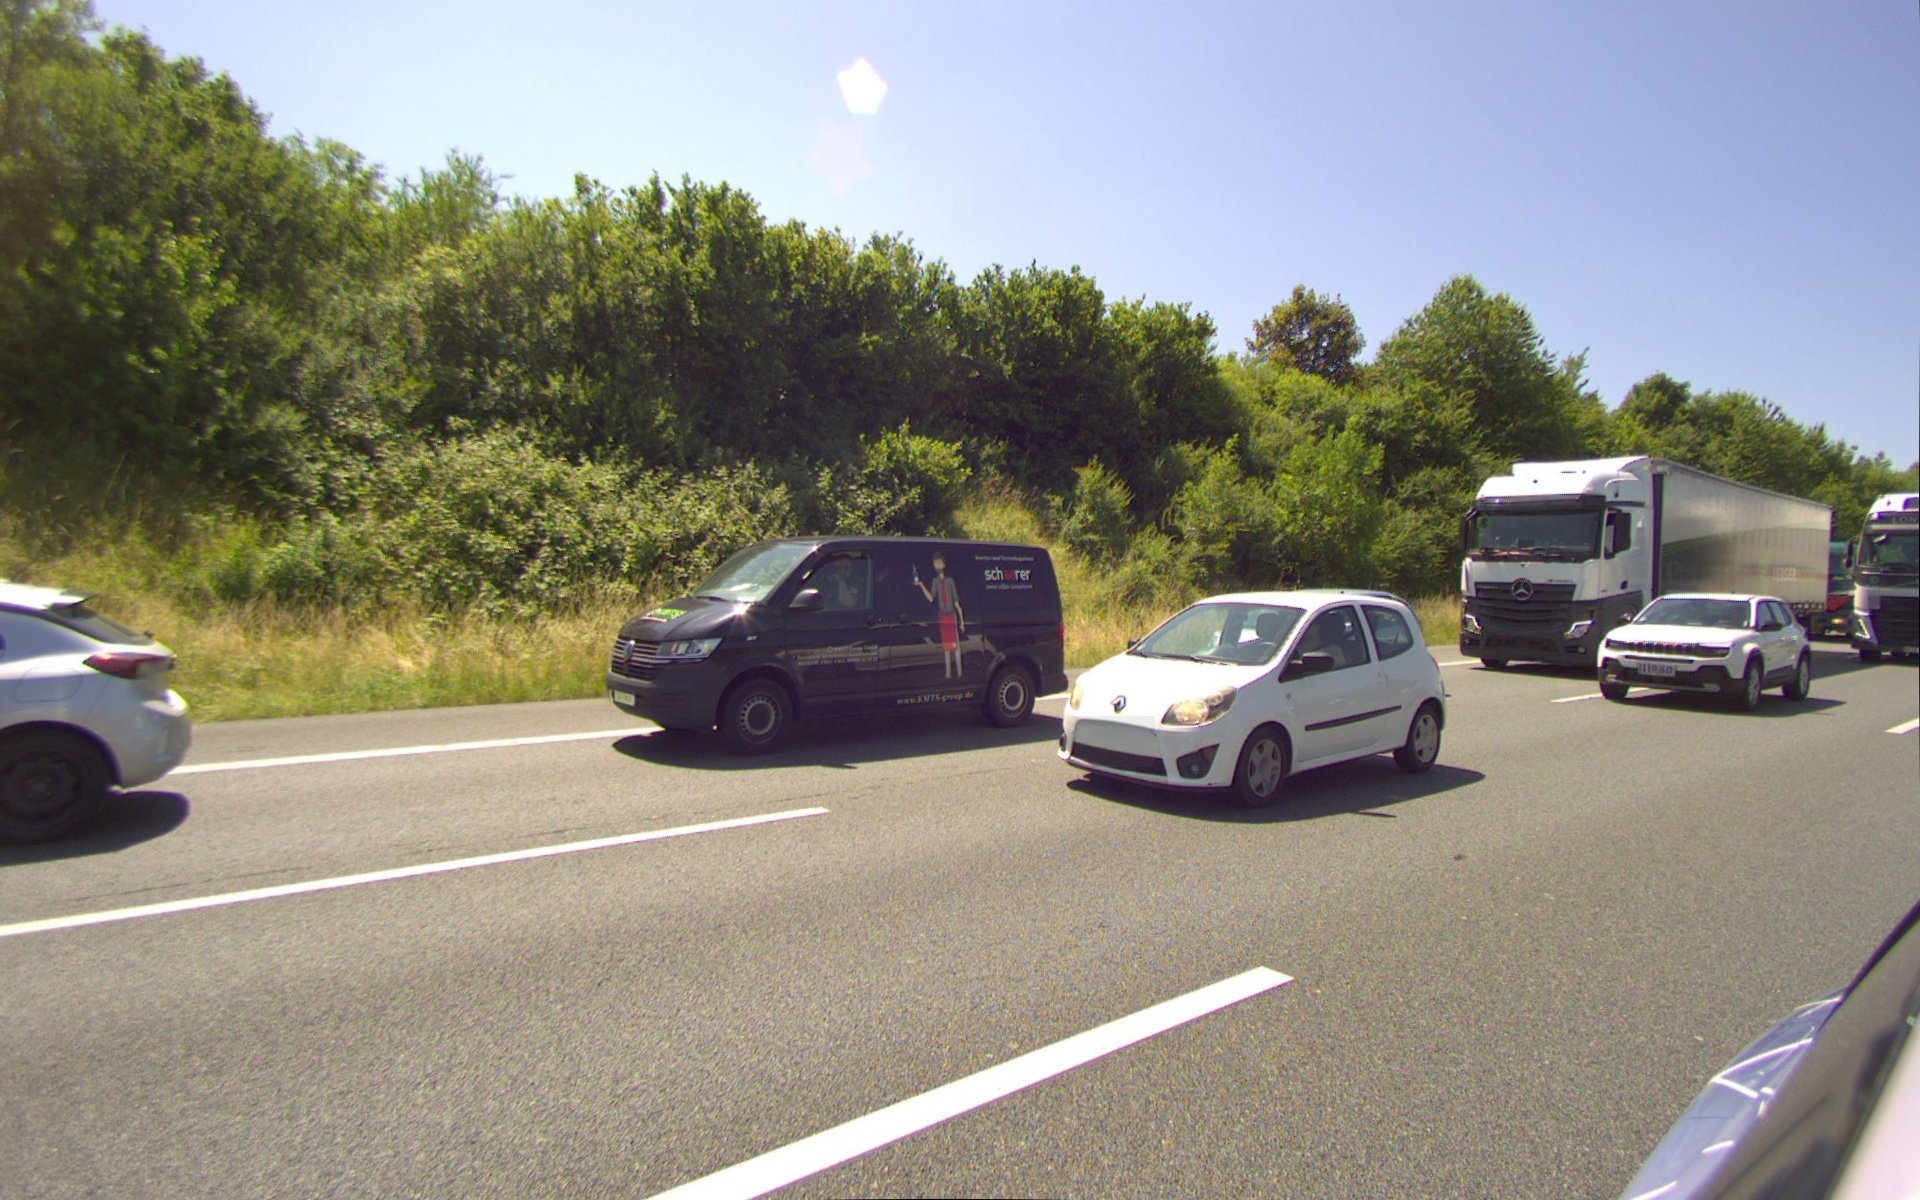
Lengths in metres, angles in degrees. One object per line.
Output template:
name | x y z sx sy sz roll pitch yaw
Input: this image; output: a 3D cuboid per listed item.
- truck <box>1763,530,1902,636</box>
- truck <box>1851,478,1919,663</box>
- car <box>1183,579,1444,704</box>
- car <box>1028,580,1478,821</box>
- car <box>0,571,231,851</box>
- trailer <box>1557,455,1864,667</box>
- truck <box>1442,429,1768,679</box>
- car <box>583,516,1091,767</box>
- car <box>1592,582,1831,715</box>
truck | 28.682 -0.563 33.203 5.570 3.185 2.301 0 1 -37
truck | 24.492 -0.673 24.508 8.206 4.044 2.751 0 1 -37
car | 5.062 0.489 14.282 3.851 1.479 1.666 0 3 -39
car | 2.483 0.603 8.179 3.741 1.451 1.609 -1 3 -39
car | -6.393 0.563 5.417 3.955 1.461 1.735 1 1 -39
trailer | 18.819 -0.860 24.867 11.853 4.208 2.881 -1 2 -38
truck | 13.394 -0.841 20.672 8.318 4.208 2.881 0 1 -37
car | -1.060 0.255 10.158 4.768 1.964 1.919 -1 2 -38
car | 10.808 0.579 14.483 3.814 1.577 1.749 -1 3 -38
